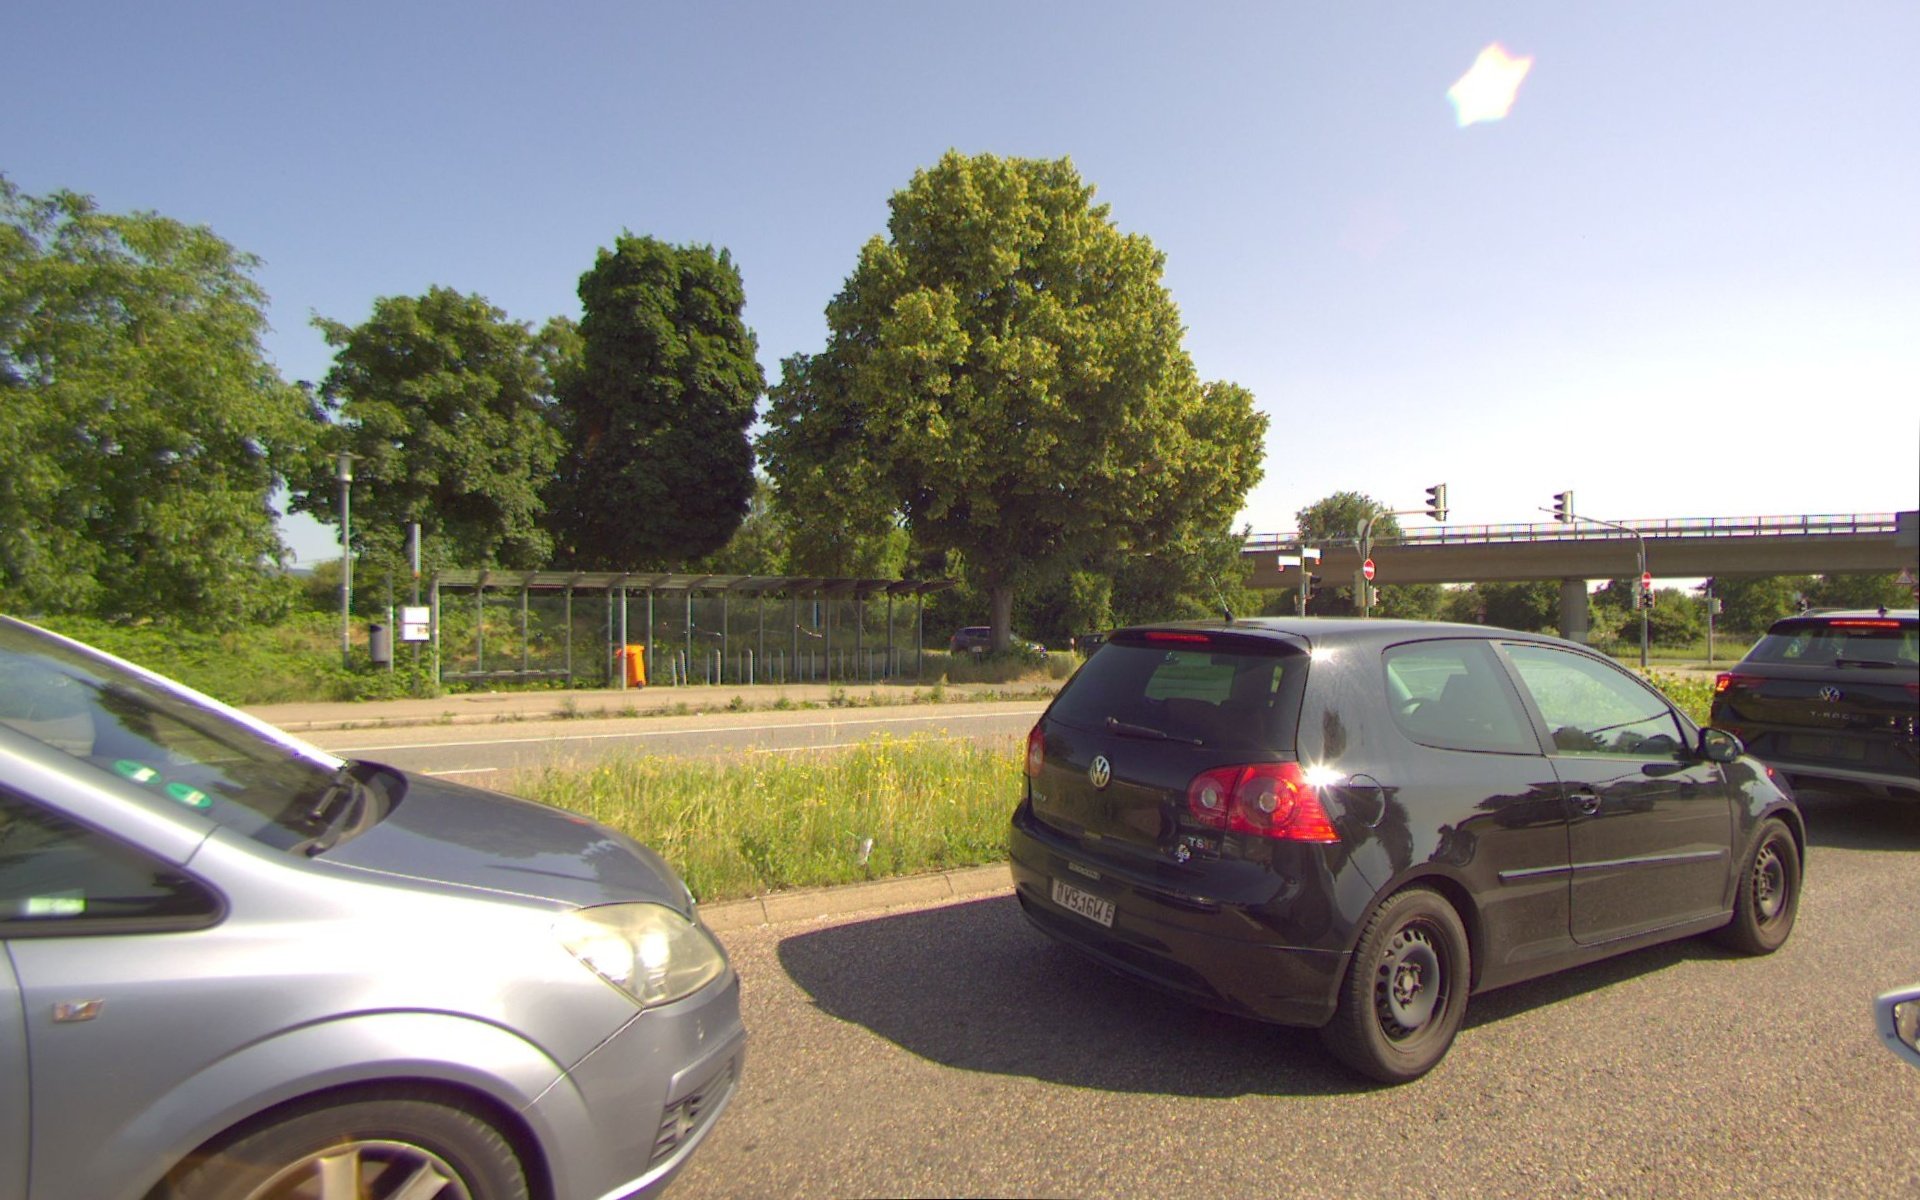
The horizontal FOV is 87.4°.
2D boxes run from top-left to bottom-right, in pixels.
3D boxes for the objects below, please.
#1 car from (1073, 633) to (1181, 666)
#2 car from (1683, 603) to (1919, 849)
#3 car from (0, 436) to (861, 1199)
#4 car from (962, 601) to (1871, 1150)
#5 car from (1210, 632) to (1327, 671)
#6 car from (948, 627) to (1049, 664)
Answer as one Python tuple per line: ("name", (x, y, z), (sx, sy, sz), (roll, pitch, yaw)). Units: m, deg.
("car", (7.120, 2.092, 42.944), (4.279, 1.297, 1.647), (-1, -2, 32))
("car", (7.645, 0.828, 7.862), (4.049, 1.568, 1.721), (1, 0, -30))
("car", (-2.503, 0.594, 1.847), (4.305, 1.695, 1.733), (1, 0, -30))
("car", (2.164, 0.769, 4.474), (4.049, 1.494, 1.658), (1, 0, -30))
("car", (12.161, 1.981, 39.716), (4.066, 1.443, 1.862), (-1, -2, 41))
("car", (1.737, 2.039, 45.370), (4.272, 1.616, 1.650), (-1, -1, 25))
